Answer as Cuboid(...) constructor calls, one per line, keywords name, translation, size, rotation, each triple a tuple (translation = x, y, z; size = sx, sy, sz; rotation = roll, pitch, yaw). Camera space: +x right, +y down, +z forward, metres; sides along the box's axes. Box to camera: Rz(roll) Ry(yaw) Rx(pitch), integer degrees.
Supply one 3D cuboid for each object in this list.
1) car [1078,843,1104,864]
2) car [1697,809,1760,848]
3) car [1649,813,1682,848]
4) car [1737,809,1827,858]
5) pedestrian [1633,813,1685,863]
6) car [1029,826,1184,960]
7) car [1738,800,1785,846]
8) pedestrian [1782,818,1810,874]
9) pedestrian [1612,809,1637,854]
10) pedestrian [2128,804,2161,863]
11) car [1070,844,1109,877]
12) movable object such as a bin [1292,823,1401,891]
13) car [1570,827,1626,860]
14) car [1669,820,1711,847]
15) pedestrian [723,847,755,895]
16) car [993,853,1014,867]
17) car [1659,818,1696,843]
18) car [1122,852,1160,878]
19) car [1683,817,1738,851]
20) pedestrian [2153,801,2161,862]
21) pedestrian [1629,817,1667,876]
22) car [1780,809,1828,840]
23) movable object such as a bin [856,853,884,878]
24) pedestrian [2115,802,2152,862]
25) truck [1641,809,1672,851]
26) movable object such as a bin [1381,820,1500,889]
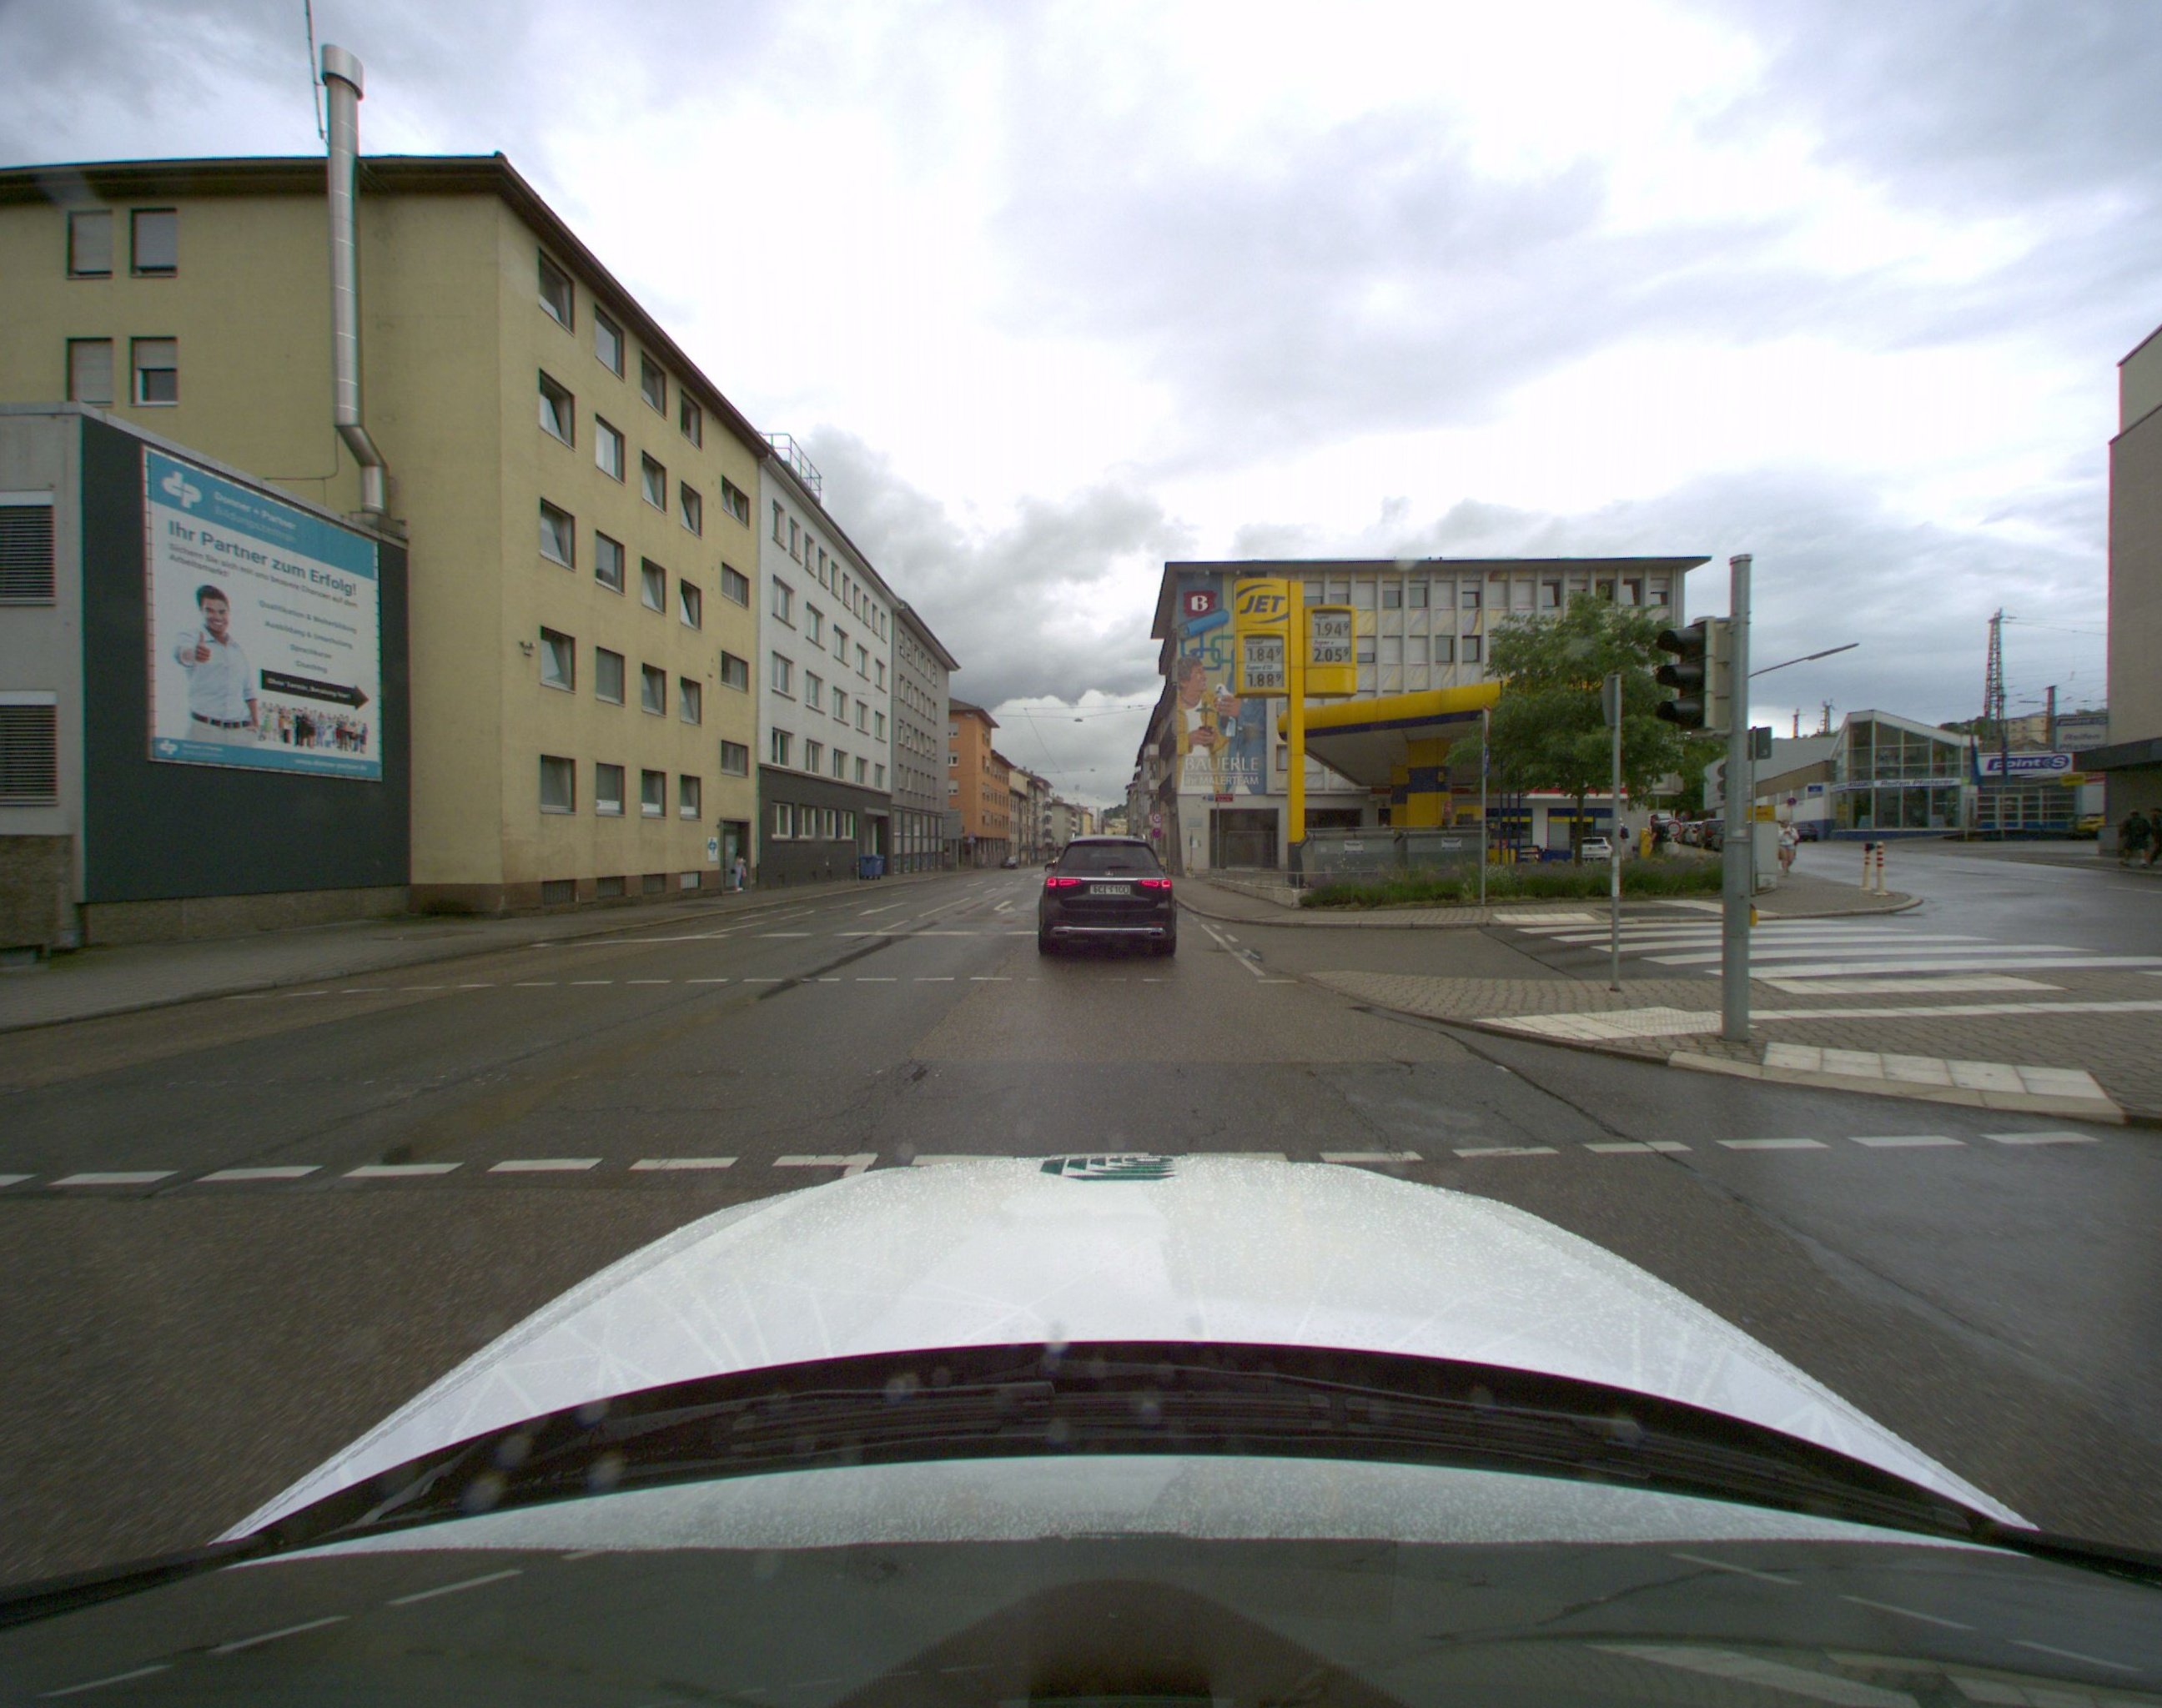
Cuboid(name="car", translation=(0.895, -0.048, 69.772), size=(2.068, 1.649, 4.297), rotation=(2, 0, 2))
Cuboid(name="car", translation=(34.678, -1.339, 43.750), size=(1.975, 1.864, 4.608), rotation=(2, 0, 30))
Cuboid(name="car", translation=(52.571, -2.096, 73.329), size=(1.975, 2.973, 4.608), rotation=(2, 0, 30))
Cuboid(name="car", translation=(28.974, -0.814, 33.825), size=(1.975, 1.864, 4.608), rotation=(2, 0, 30))
Cuboid(name="pedestrian", translation=(18.163, -0.496, 25.597), size=(0.922, 1.523, 1.101), rotation=(2, 0, -39))
Cuboid(name="car", translation=(0.417, 0.519, 13.442), size=(2.068, 1.765, 4.613), rotation=(2, 0, 2))
Cuboid(name="car", translation=(59.353, -2.650, 71.076), size=(2.354, 3.687, 5.025), rotation=(2, 0, 31))
Cuboid(name="pedestrian", translation=(19.689, -0.228, 22.430), size=(0.577, 1.515, 0.474), rotation=(2, 0, -39))
Cuboid(name="pedestrian", translation=(21.401, -0.873, 32.097), size=(0.671, 1.757, 0.736), rotation=(2, 0, 25))
Cuboid(name="pedestrian", translation=(31.978, -0.619, 24.442), size=(0.473, 1.742, 0.578), rotation=(2, 0, 32))
Cuboid(name="car", translation=(0.543, 0.332, 46.895), size=(2.068, 1.765, 4.613), rotation=(2, 0, 2))
Cuboid(name="movable object such as a bin", translation=(6.453, 0.068, 20.005), size=(2.147, 1.574, 1.774), rotation=(-1, 0, 2))
Cuboid(name="car", translation=(26.874, -0.488, 42.280), size=(1.974, 1.516, 4.446), rotation=(-2, -2, 39))
Cuboid(name="car", translation=(45.278, -1.488, 60.602), size=(1.975, 1.864, 4.608), rotation=(2, 0, 30))
Cuboid(name="pedestrian", translation=(-12.320, 0.592, 29.369), size=(0.714, 1.689, 0.812), rotation=(2, 0, 3))
Cuboid(name="car", translation=(-8.526, 0.660, 89.881), size=(1.885, 1.458, 4.549), rotation=(2, 0, 0))
Cuboid(name="car", translation=(48.580, -1.863, 66.392), size=(1.975, 1.864, 4.608), rotation=(2, 0, 30))
Cuboid(name="car", translation=(3.718, 0.678, 51.046), size=(1.887, 1.402, 4.607), rotation=(-5, 0, -1))
Cuboid(name="car", translation=(37.590, -1.142, 48.742), size=(1.975, 1.864, 4.608), rotation=(2, 0, 30))
Cuboid(name="pedestrian", translation=(31.232, -0.638, 23.290), size=(0.473, 1.742, 0.578), rotation=(2, 0, 32))
Cuboid(name="pedestrian", translation=(25.116, -0.325, 36.108), size=(0.998, 2.567, 1.154), rotation=(2, 0, 16))
Cuboid(name="car", translation=(52.091, -2.097, 58.753), size=(1.974, 2.013, 4.025), rotation=(2, 0, 33))
Cuboid(name="movable object such as a bin", translation=(-11.349, 0.613, 43.836), size=(1.072, 1.324, 1.191), rotation=(2, 0, 2))
Cuboid(name="pedestrian", translation=(31.199, -0.642, 24.156), size=(0.473, 1.742, 0.578), rotation=(2, 0, 32))
Cuboid(name="truck", translation=(56.248, -2.330, 79.686), size=(1.975, 3.914, 5.519), rotation=(2, 0, 30))
Cuboid(name="movable object such as a bin", translation=(8.735, 0.016, 19.958), size=(2.147, 1.555, 1.774), rotation=(-1, 0, 2))
